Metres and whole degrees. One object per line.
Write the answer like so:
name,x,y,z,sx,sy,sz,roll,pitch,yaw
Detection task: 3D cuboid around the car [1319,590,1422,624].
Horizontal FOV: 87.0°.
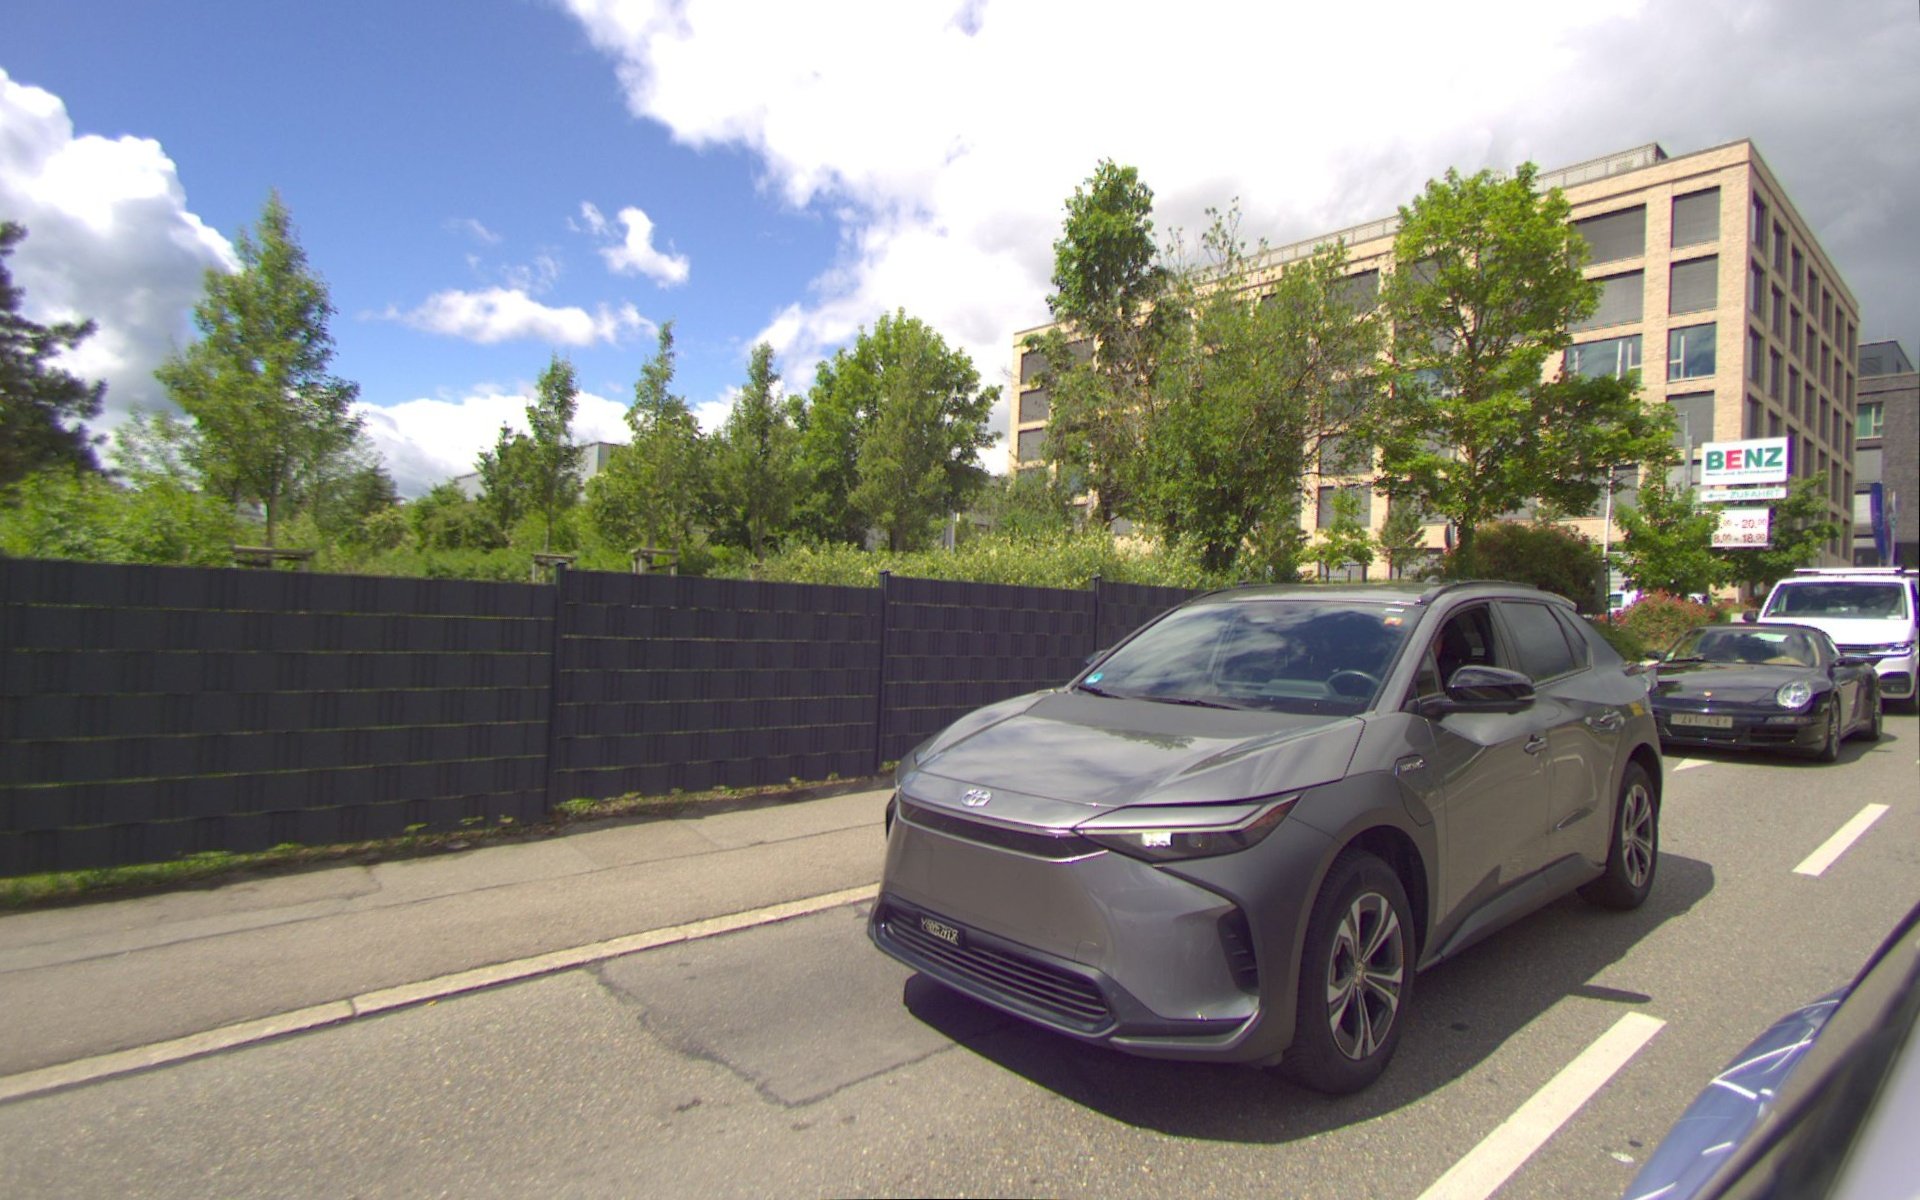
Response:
car,19.342,0.296,47.803,1.705,1.436,4.215,1,1,-41

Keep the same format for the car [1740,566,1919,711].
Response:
car,13.562,0.512,15.273,4.563,1.874,1.962,0,-1,-41

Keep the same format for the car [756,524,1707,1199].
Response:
car,1.590,0.659,4.578,4.601,1.634,1.922,0,-1,-41

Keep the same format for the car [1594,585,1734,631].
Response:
car,27.266,0.277,39.274,1.707,1.596,4.211,1,1,-44

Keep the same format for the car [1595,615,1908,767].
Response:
car,8.675,0.823,10.942,4.487,1.290,1.776,0,-1,-40

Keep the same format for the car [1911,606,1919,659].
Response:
car,26.499,0.800,26.498,4.488,1.289,1.777,-3,5,-40
